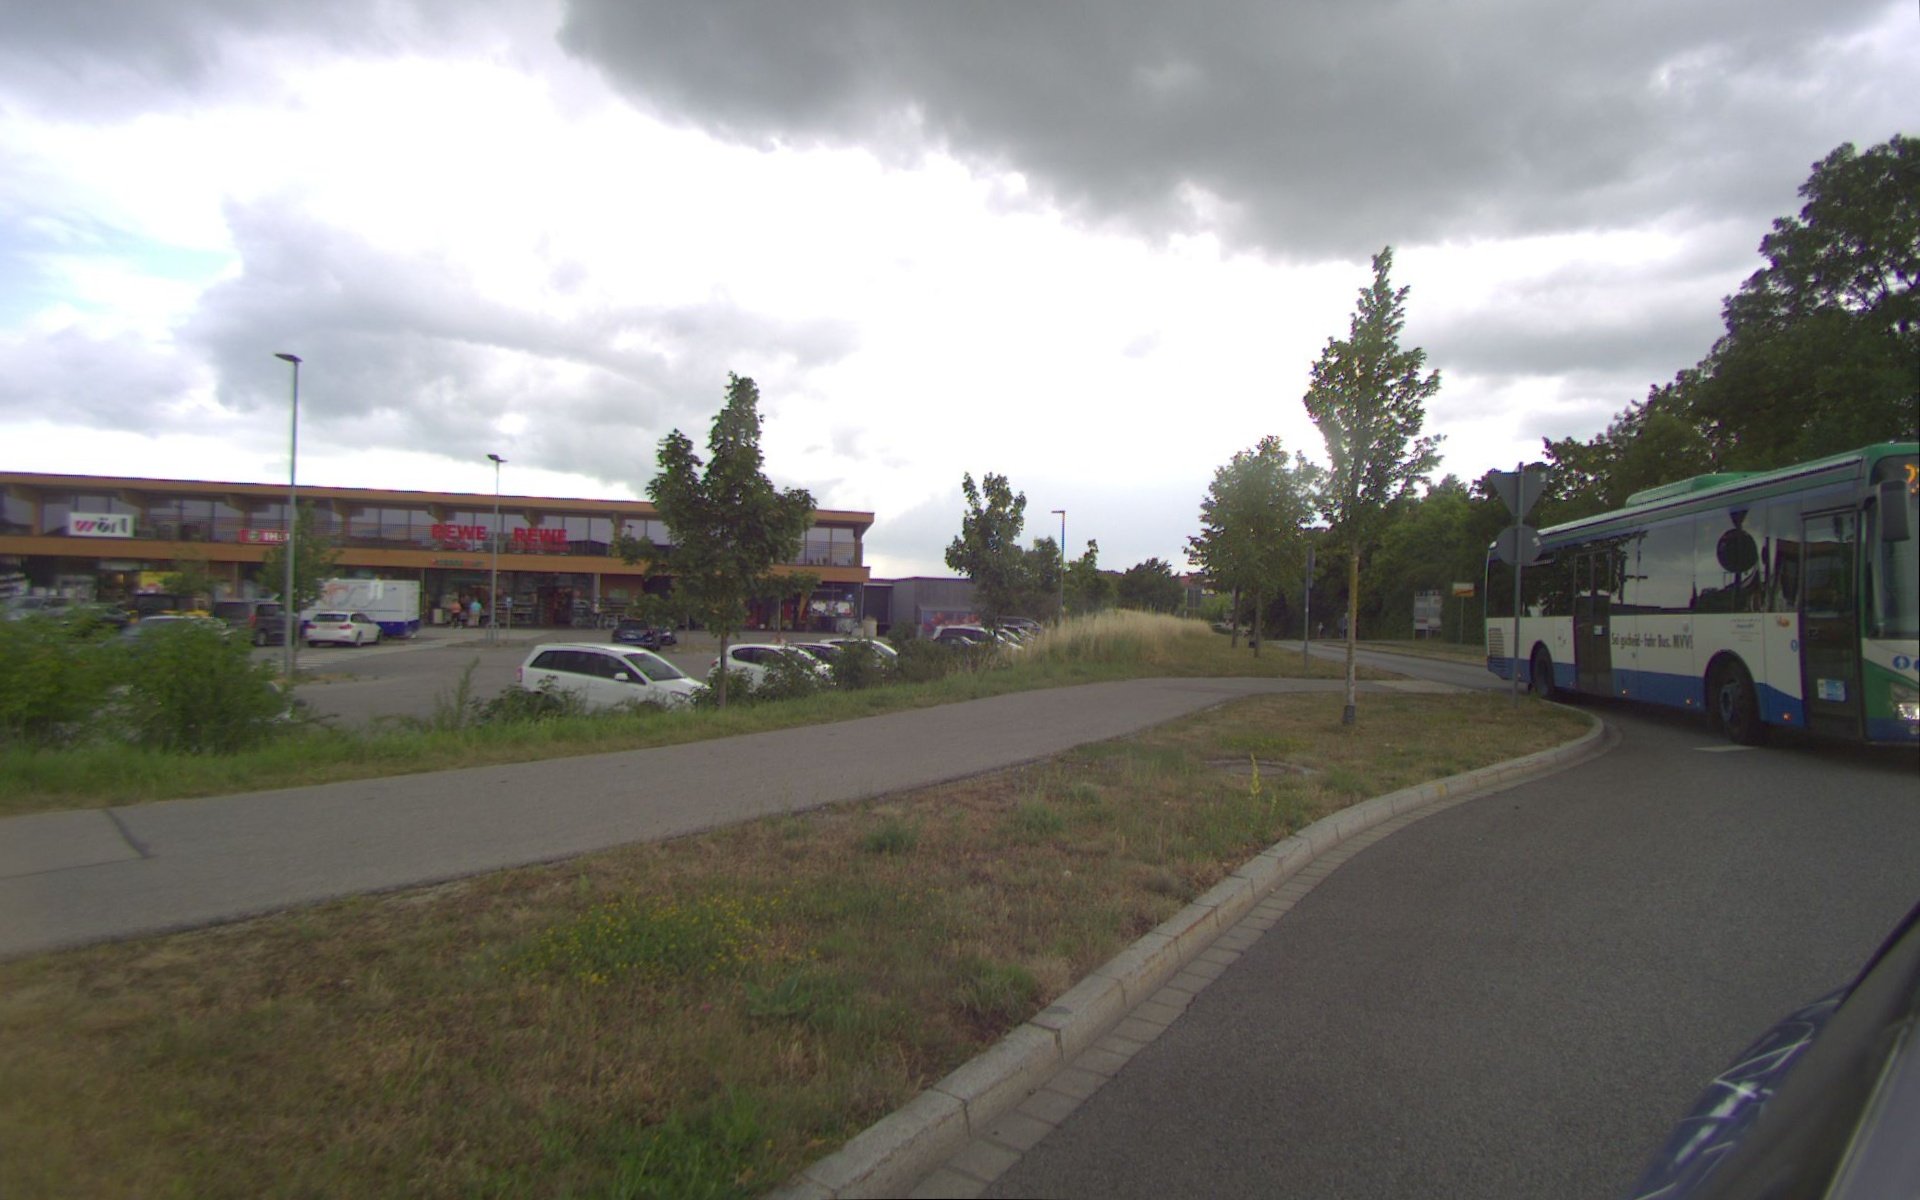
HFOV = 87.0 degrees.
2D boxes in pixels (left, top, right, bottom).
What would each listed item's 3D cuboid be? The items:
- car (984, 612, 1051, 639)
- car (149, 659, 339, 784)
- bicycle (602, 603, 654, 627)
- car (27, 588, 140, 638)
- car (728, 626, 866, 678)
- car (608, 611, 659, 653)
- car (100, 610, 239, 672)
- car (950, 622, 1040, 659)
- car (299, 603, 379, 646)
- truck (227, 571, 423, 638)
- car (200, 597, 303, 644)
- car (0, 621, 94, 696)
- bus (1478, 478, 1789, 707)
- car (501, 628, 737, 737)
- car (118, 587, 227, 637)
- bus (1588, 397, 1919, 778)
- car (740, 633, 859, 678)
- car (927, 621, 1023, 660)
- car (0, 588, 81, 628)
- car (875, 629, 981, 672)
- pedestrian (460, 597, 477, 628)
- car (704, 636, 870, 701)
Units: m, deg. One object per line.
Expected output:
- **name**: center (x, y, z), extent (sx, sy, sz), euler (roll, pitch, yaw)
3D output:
- **car**: center (3.478, 1.504, 60.863), extent (3.931, 1.462, 1.881), euler (1, 0, 7)
- **car**: center (-10.580, 1.672, 14.864), extent (3.719, 1.390, 1.556), euler (1, -1, 43)
- **bicycle**: center (-19.633, 0.875, 59.874), extent (2.810, 1.325, 0.981), euler (1, 0, -11)
- **car**: center (-34.139, 0.473, 39.558), extent (1.735, 1.878, 4.008), euler (1, 0, -14)
- **car**: center (-4.654, 1.470, 29.152), extent (3.614, 1.311, 1.713), euler (1, 0, 8)
- **car**: center (-13.861, 1.327, 43.099), extent (1.680, 1.588, 3.677), euler (1, 0, -12)
- **car**: center (-22.485, 1.126, 28.974), extent (1.695, 1.573, 4.008), euler (2, 0, -15)
- **car**: center (1.643, 1.852, 47.174), extent (3.843, 1.482, 1.685), euler (2, 0, 22)
- **car**: center (-25.147, 0.954, 41.130), extent (1.695, 1.549, 4.009), euler (1, 0, -15)
- **truck**: center (-29.414, 0.222, 47.226), extent (7.105, 2.843, 2.983), euler (1, 0, -15)
- **car**: center (-27.965, 0.776, 40.102), extent (1.813, 1.747, 4.127), euler (0, 0, -11)
- **car**: center (-21.542, 1.275, 22.550), extent (1.798, 1.415, 4.008), euler (1, 0, -15)
- **bus**: center (11.260, -0.095, 17.600), extent (2.485, 3.299, 5.442), euler (-2, 0, 12)
- **car**: center (-7.045, 1.629, 20.997), extent (4.384, 1.693, 1.791), euler (4, 2, 17)
- **car**: center (-31.274, 0.453, 40.322), extent (1.736, 1.878, 4.007), euler (1, 0, -10)
- **bus**: center (10.070, -0.159, 11.744), extent (2.485, 3.299, 6.526), euler (-2, 0, 11)
- **car**: center (-5.271, 1.793, 33.299), extent (3.628, 1.311, 1.407), euler (0, 0, 19)
- **car**: center (0.649, 1.727, 44.269), extent (3.843, 1.482, 1.685), euler (2, 0, 22)
- **car**: center (-40.519, 0.318, 43.937), extent (1.730, 1.633, 4.234), euler (1, 0, -13)
- **car**: center (-1.274, 1.993, 40.437), extent (3.843, 1.482, 1.685), euler (2, 0, 22)
- **pedestrian**: center (-27.827, 0.701, 57.311), extent (0.736, 1.678, 0.805), euler (1, 0, -36)
- **car**: center (-4.562, 1.780, 26.944), extent (3.935, 1.527, 1.995), euler (1, 0, 10)
